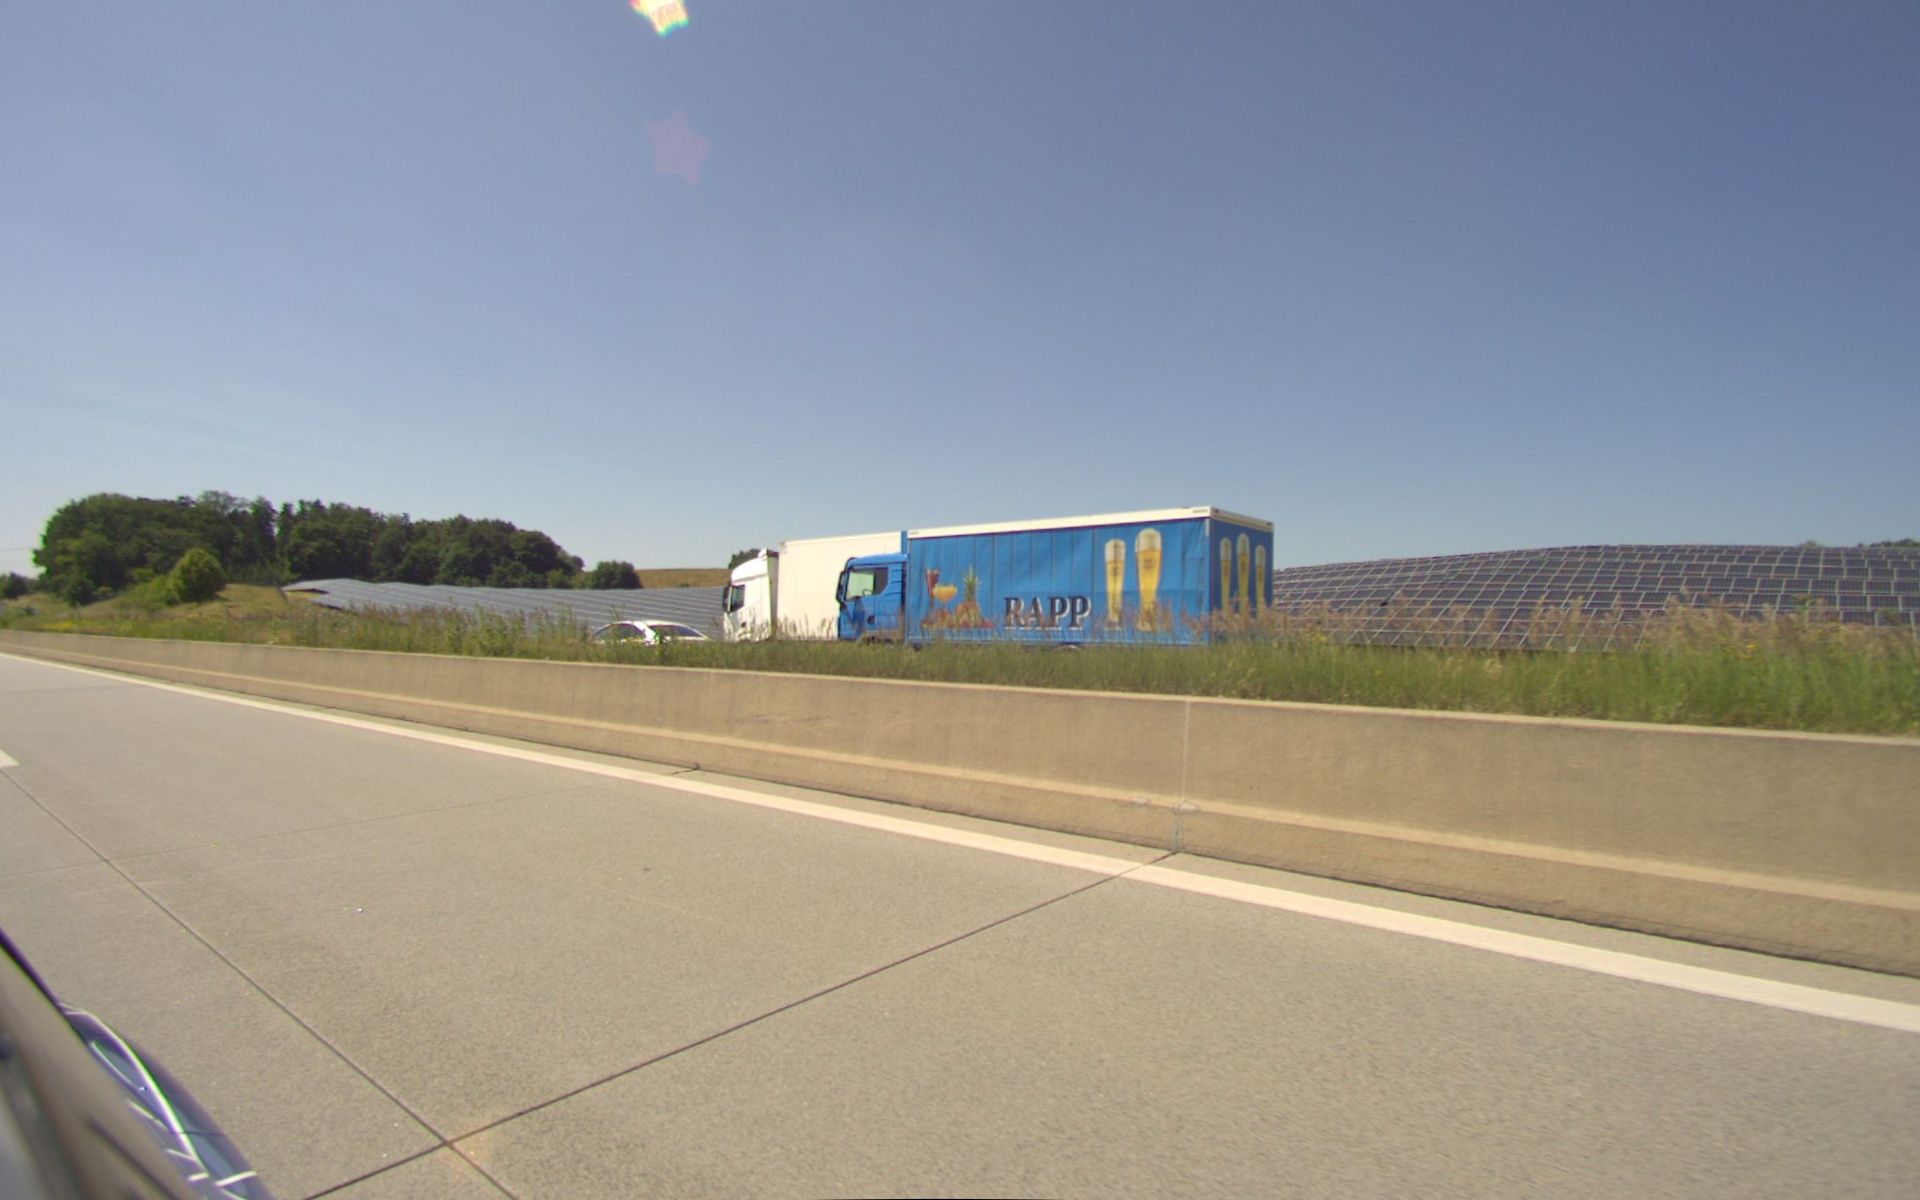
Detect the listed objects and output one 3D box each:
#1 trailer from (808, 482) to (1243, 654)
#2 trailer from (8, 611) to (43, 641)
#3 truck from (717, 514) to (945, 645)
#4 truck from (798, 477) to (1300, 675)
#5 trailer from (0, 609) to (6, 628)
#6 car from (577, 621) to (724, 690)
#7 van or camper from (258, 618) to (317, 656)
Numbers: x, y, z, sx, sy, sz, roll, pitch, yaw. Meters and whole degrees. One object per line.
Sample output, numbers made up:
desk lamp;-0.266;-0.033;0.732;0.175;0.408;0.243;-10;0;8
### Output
trailer;1.088;-0.633;25.998;11.759;3.551;3.042;-1;0;42
trailer;-133.350;3.669;144.402;10.253;4.223;2.703;-1;-1;42
truck;-4.027;-0.544;30.593;6.882;3.513;3.090;-1;0;42
truck;1.200;-0.353;20.297;10.370;3.087;2.795;-1;0;41
trailer;-168.055;3.202;175.230;14.498;3.207;2.803;-1;0;41
car;-6.739;1.148;21.880;3.486;1.310;1.437;-1;0;42
van or camper;-37.098;2.034;55.772;3.948;1.985;1.744;-1;-1;41
